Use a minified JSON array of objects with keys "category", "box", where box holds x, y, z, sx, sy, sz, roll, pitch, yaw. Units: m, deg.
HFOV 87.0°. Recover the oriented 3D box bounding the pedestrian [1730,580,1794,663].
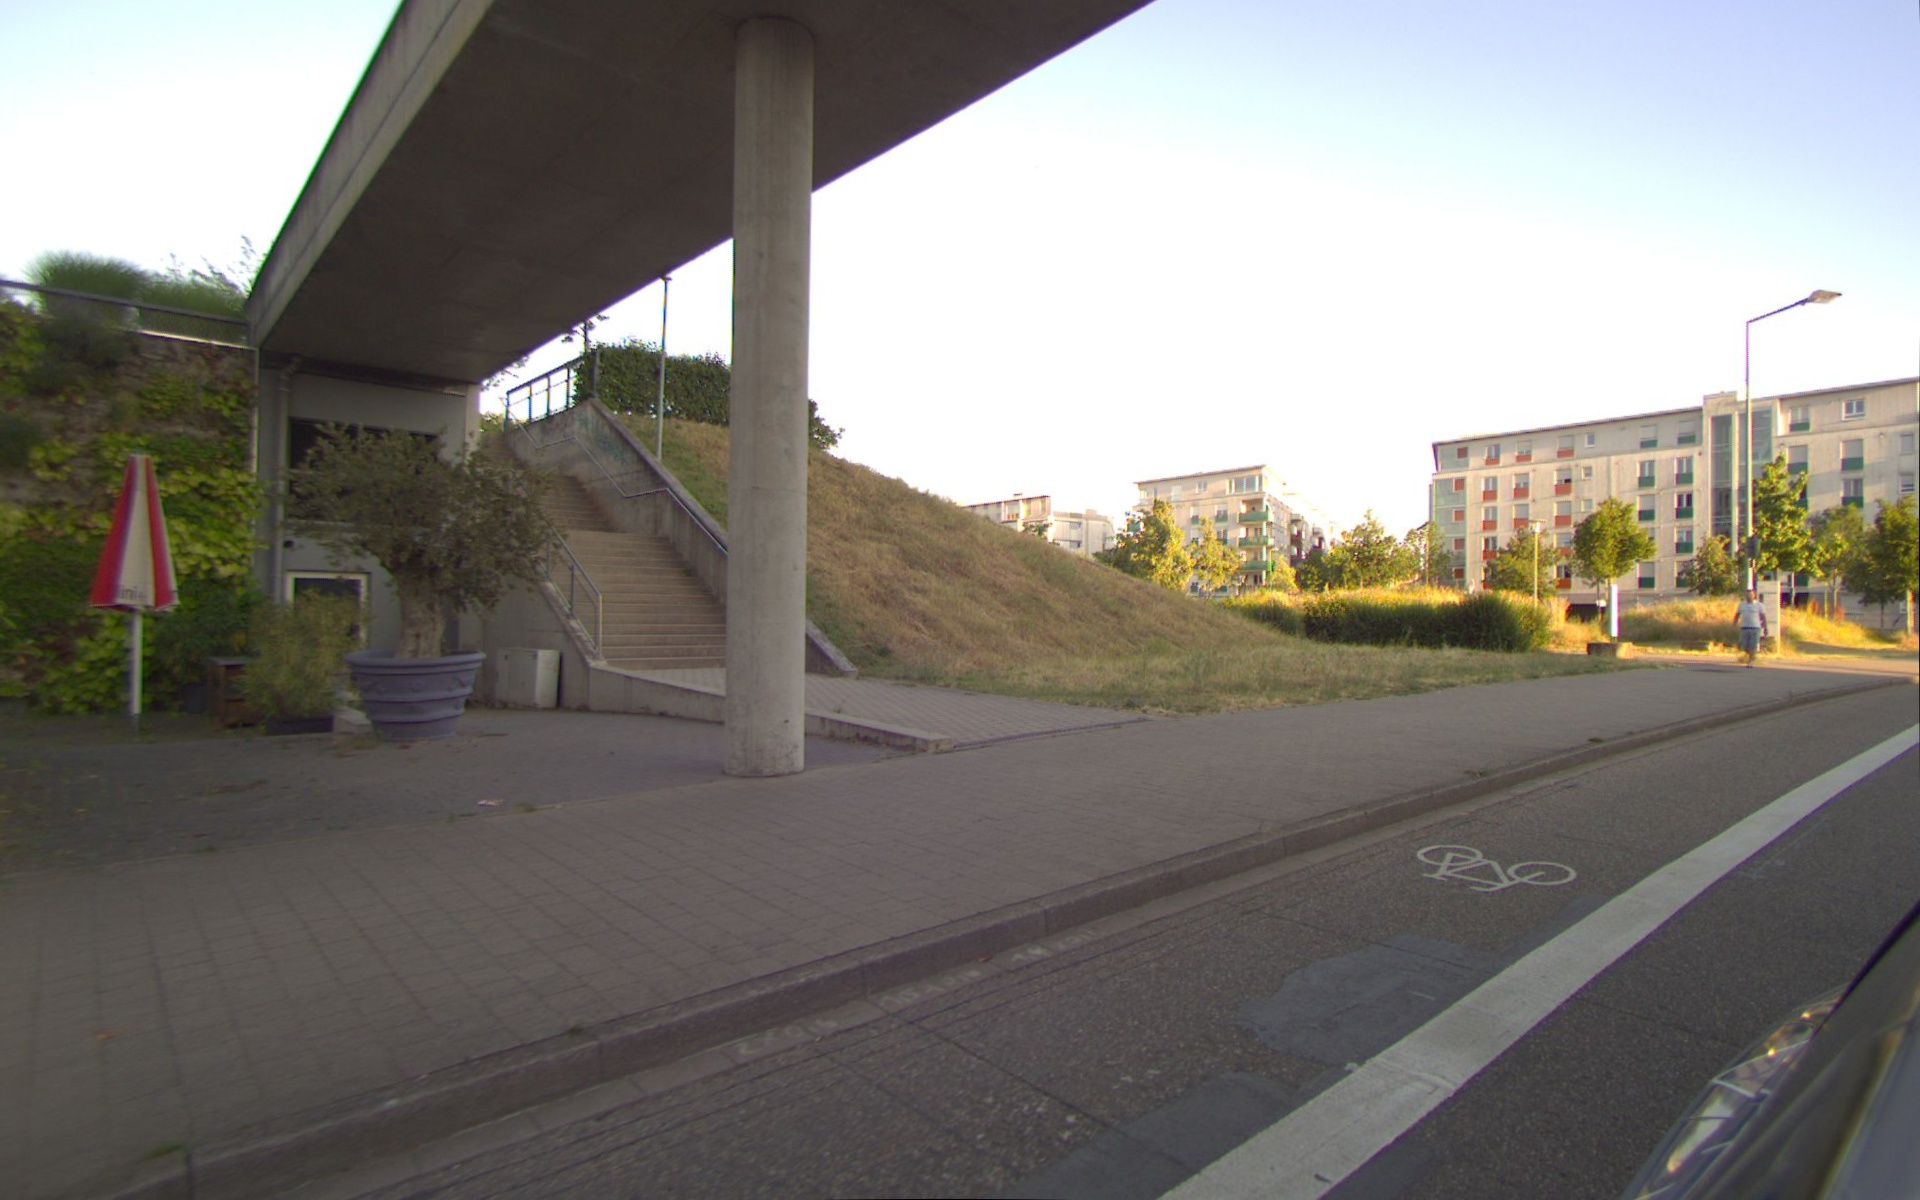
[{"category":"pedestrian","box":[17.995,0.463,22.710,0.802,1.788,0.835,1,2,-33]}]
